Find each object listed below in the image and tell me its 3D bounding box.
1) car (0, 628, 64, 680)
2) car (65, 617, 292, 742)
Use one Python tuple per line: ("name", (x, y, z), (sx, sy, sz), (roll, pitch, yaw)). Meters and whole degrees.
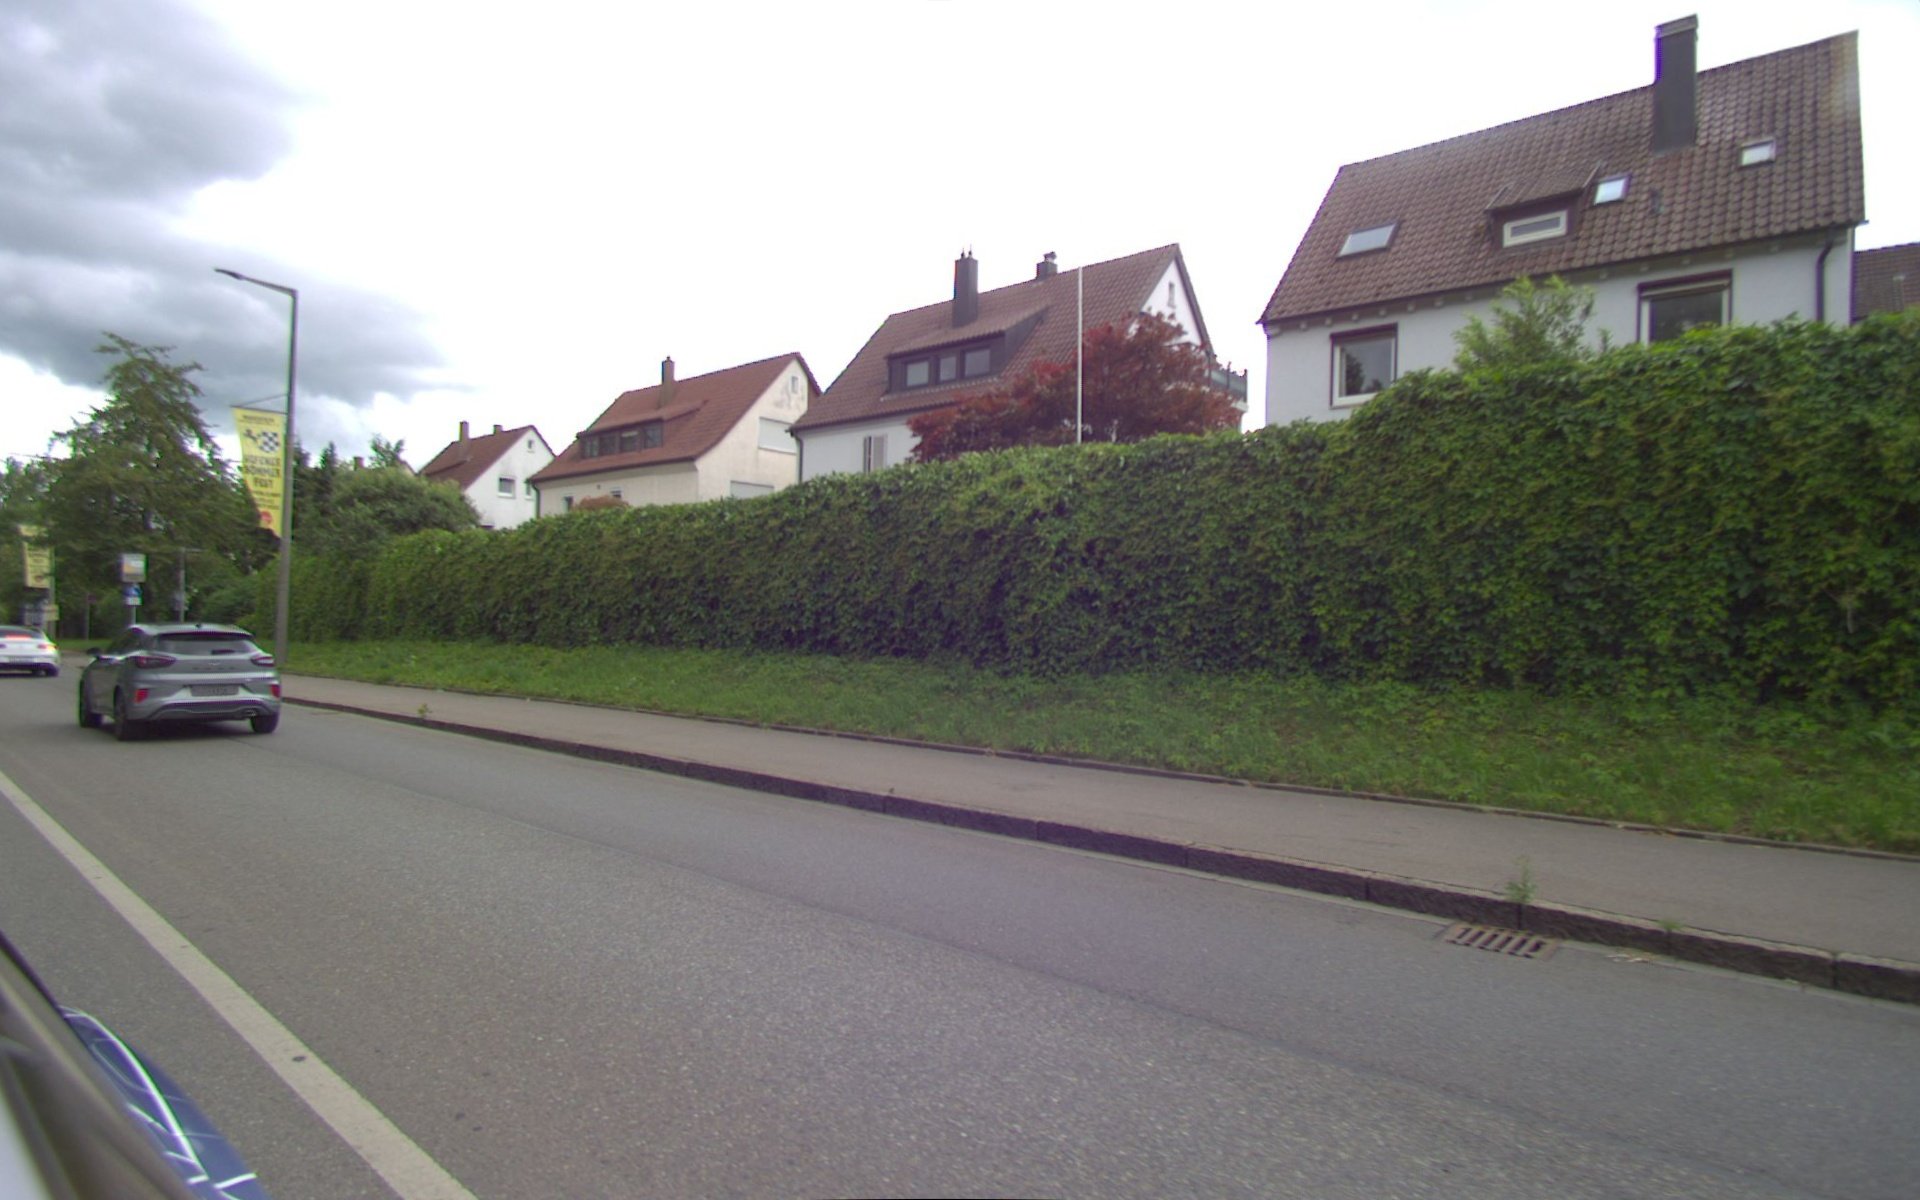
("car", (-27.331, 1.512, 28.973), (4.487, 1.394, 1.867), (-1, -3, 40))
("car", (-11.210, 1.072, 14.431), (3.997, 1.530, 1.733), (-2, -5, 41))
